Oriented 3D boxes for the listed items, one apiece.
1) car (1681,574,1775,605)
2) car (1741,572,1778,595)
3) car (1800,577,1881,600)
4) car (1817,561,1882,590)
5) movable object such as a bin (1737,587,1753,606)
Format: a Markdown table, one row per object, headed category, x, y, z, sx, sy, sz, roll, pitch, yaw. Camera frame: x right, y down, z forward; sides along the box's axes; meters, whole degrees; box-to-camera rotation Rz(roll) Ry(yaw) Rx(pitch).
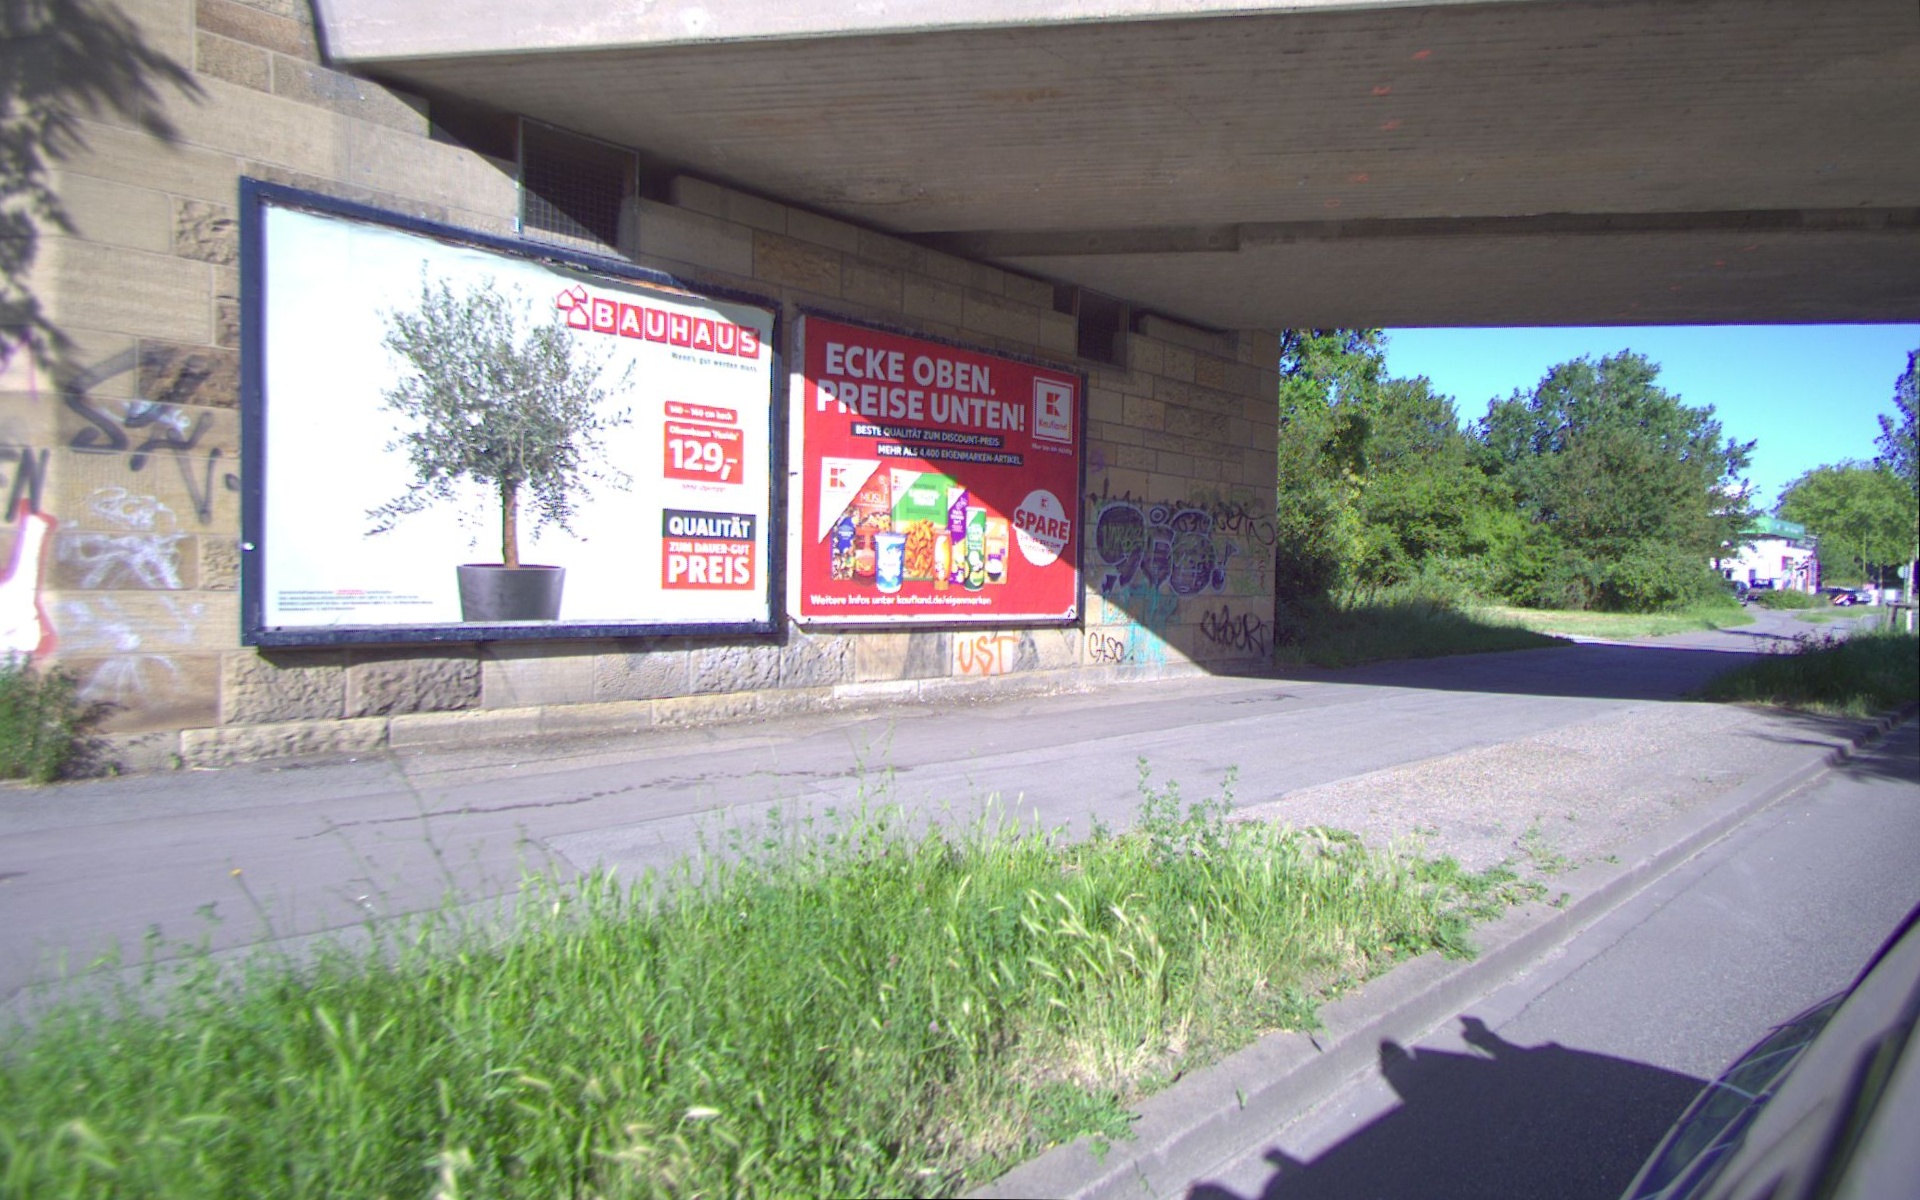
| category | x | y | z | sx | sy | sz | roll | pitch | yaw |
| --- | --- | --- | --- | --- | --- | --- | --- | --- | --- |
| car | 47.894 | -0.698 | 63.210 | 1.764 | 1.659 | 4.572 | 1 | 4 | -11 |
| car | 70.902 | -1.474 | 89.745 | 4.146 | 1.883 | 1.896 | -2 | 6 | -43 |
| car | 73.000 | -0.952 | 83.960 | 4.748 | 1.549 | 1.900 | 3 | 3 | 3 |
| car | 79.870 | -2.229 | 90.935 | 1.652 | 2.035 | 4.013 | 4 | 7 | -9 |
| movable object such as a bin | 46.185 | -0.225 | 59.527 | 0.572 | 1.088 | 0.509 | 1 | 0 | 8 |
